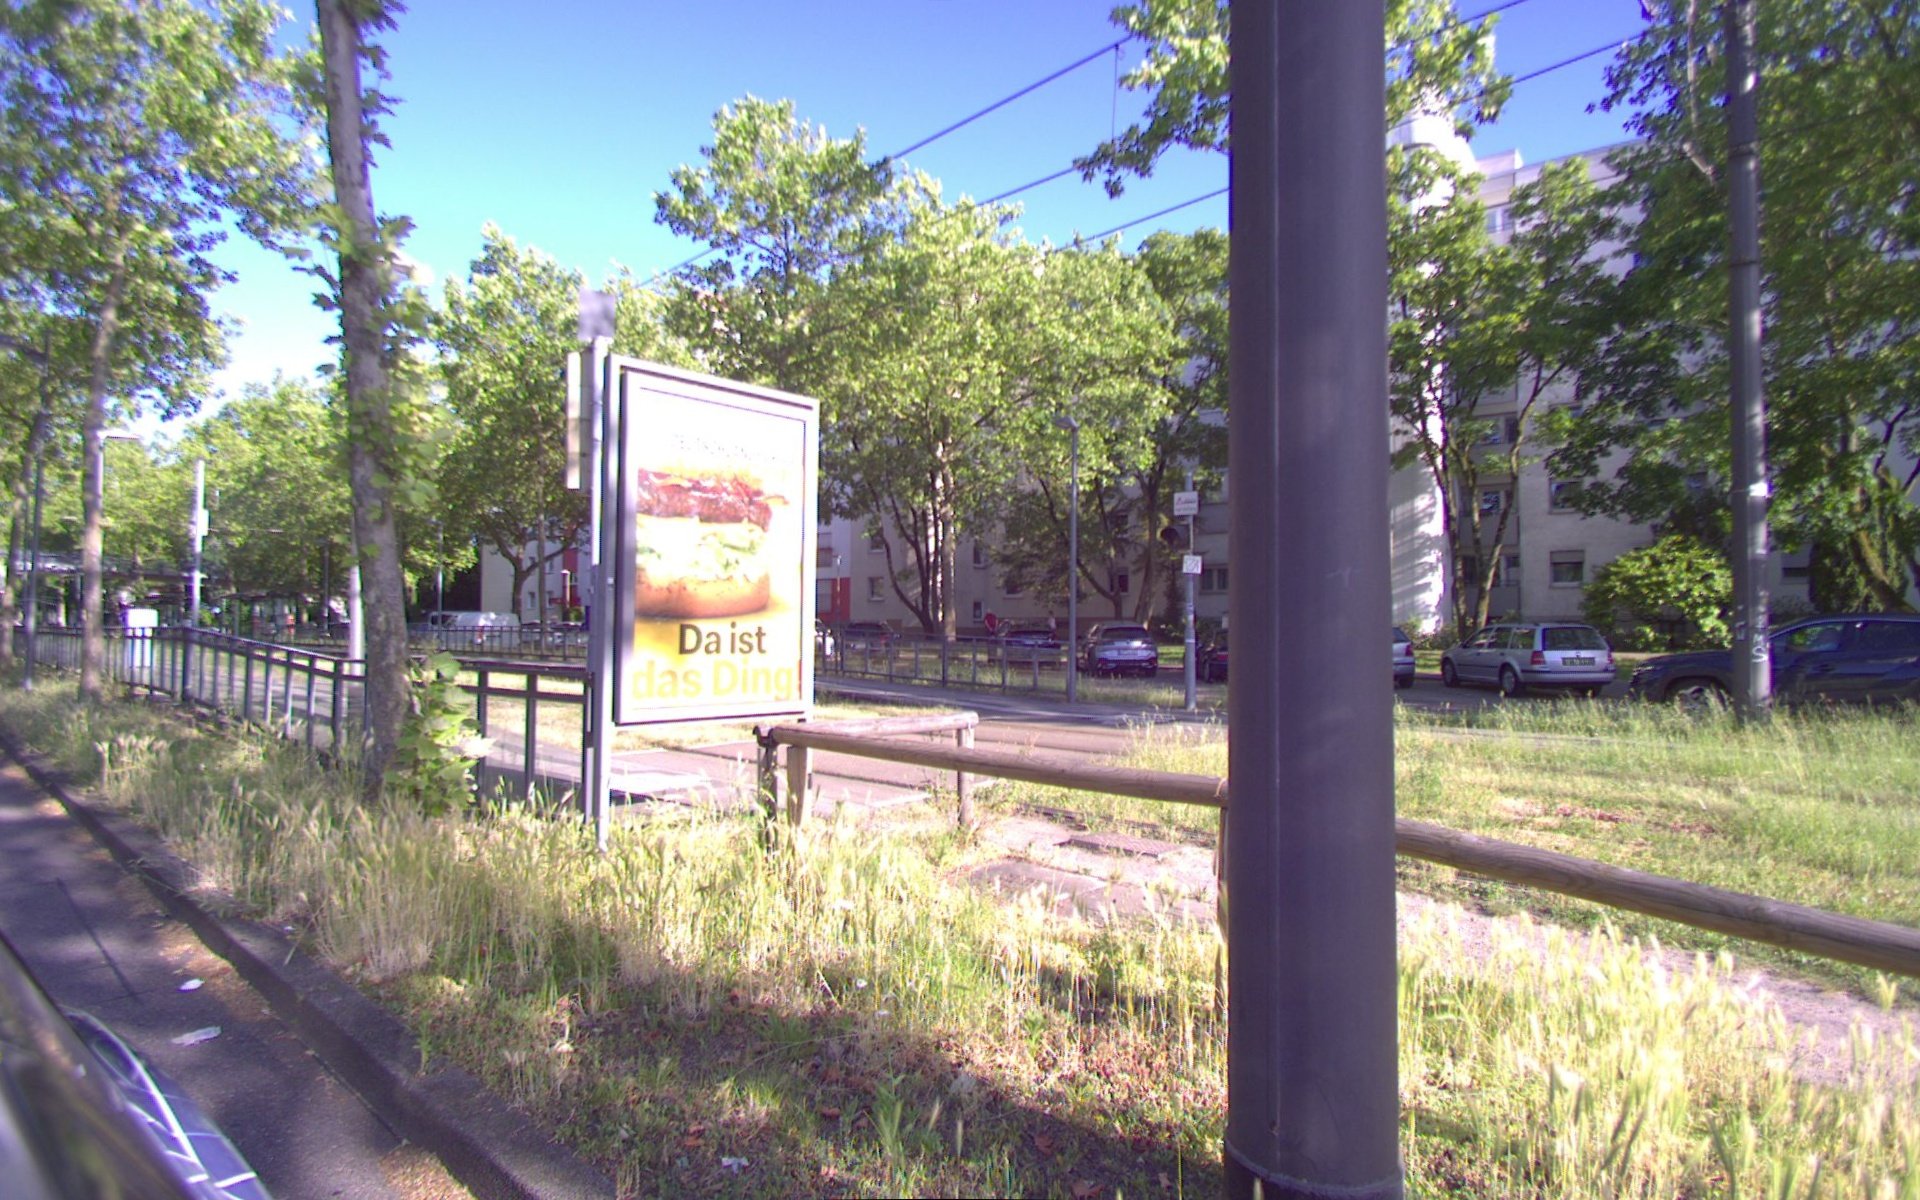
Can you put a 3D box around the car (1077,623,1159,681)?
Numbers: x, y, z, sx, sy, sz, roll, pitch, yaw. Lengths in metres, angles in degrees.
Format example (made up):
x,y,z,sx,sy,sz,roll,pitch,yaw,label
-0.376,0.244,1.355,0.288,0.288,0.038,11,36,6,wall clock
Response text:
x,y,z,sx,sy,sz,roll,pitch,yaw,label
4.216,1.349,27.519,1.633,1.413,3.803,-1,-1,0,car

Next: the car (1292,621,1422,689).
x,y,z,sx,sy,sz,roll,pitch,yaw,label
9.141,1.224,23.590,1.559,1.413,3.638,-1,-1,0,car

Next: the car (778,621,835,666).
x,y,z,sx,sy,sz,roll,pitch,yaw,label
-5.566,1.553,37.019,1.633,1.522,3.805,-1,-1,-2,car

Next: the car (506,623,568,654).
x,y,z,sx,sy,sz,roll,pitch,yaw,label
-21.336,1.921,51.186,1.633,1.452,3.805,-1,-1,-2,car

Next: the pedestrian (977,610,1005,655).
x,y,z,sx,sy,sz,roll,pitch,yaw,label
1.233,1.279,39.958,0.786,1.745,0.755,-1,0,39,pedestrian

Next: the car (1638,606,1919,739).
x,y,z,sx,sy,sz,roll,pitch,yaw,label
11.788,0.907,13.552,4.293,1.631,1.634,-2,-1,42,car

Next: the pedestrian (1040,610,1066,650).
x,y,z,sx,sy,sz,roll,pitch,yaw,label
3.889,1.252,42.498,0.786,1.635,0.755,-1,0,39,pedestrian

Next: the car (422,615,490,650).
x,y,z,sx,sy,sz,roll,pitch,yaw,label
-28.451,1.805,57.258,1.814,1.888,4.323,-1,-1,-2,car

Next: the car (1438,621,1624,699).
x,y,z,sx,sy,sz,roll,pitch,yaw,label
11.471,1.147,20.663,1.559,1.413,3.906,-1,-1,0,car

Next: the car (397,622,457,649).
x,y,z,sx,sy,sz,roll,pitch,yaw,label
-31.330,2.063,59.603,1.633,1.452,3.805,-1,-1,-2,car

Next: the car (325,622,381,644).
x,y,z,sx,sy,sz,roll,pitch,yaw,label
-40.836,2.206,68.196,1.633,1.452,3.805,-1,-1,-2,car

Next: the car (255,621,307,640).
x,y,z,sx,sy,sz,roll,pitch,yaw,label
-53.046,2.380,79.159,1.633,1.452,3.805,-1,-1,-2,car

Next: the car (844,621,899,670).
x,y,z,sx,sy,sz,roll,pitch,yaw,label
-2.977,1.511,34.649,1.633,1.522,3.805,-1,-1,-2,car

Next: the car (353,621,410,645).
x,y,z,sx,sy,sz,roll,pitch,yaw,label
-37.882,2.152,66.383,1.633,1.452,3.805,-1,-1,-2,car

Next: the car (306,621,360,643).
x,y,z,sx,sy,sz,roll,pitch,yaw,label
-44.976,2.266,72.686,1.633,1.452,3.805,-1,-1,-2,car

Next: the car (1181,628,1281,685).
x,y,z,sx,sy,sz,roll,pitch,yaw,label
6.673,1.363,25.276,1.445,1.234,3.815,-1,-1,0,car

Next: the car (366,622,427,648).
x,y,z,sx,sy,sz,roll,pitch,yaw,label
-33.692,2.094,60.606,1.633,1.452,3.805,-1,-1,-2,car

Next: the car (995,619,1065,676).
x,y,z,sx,sy,sz,roll,pitch,yaw,label
1.982,1.339,29.666,1.633,1.522,3.805,-1,-1,-2,car

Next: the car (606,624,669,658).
x,y,z,sx,sy,sz,roll,pitch,yaw,label
-14.063,1.748,44.338,1.633,1.366,3.805,-1,-1,-2,car

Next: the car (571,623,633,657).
x,y,z,sx,sy,sz,roll,pitch,yaw,label
-16.626,1.837,47.161,1.633,1.452,3.805,-1,-1,-2,car

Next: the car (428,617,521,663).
x,y,z,sx,sy,sz,roll,pitch,yaw,label
-20.907,1.686,43.502,4.899,1.835,1.808,-2,-1,41,car

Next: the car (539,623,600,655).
x,y,z,sx,sy,sz,roll,pitch,yaw,label
-19.044,1.879,49.542,1.633,1.452,3.805,-1,-1,-2,car
